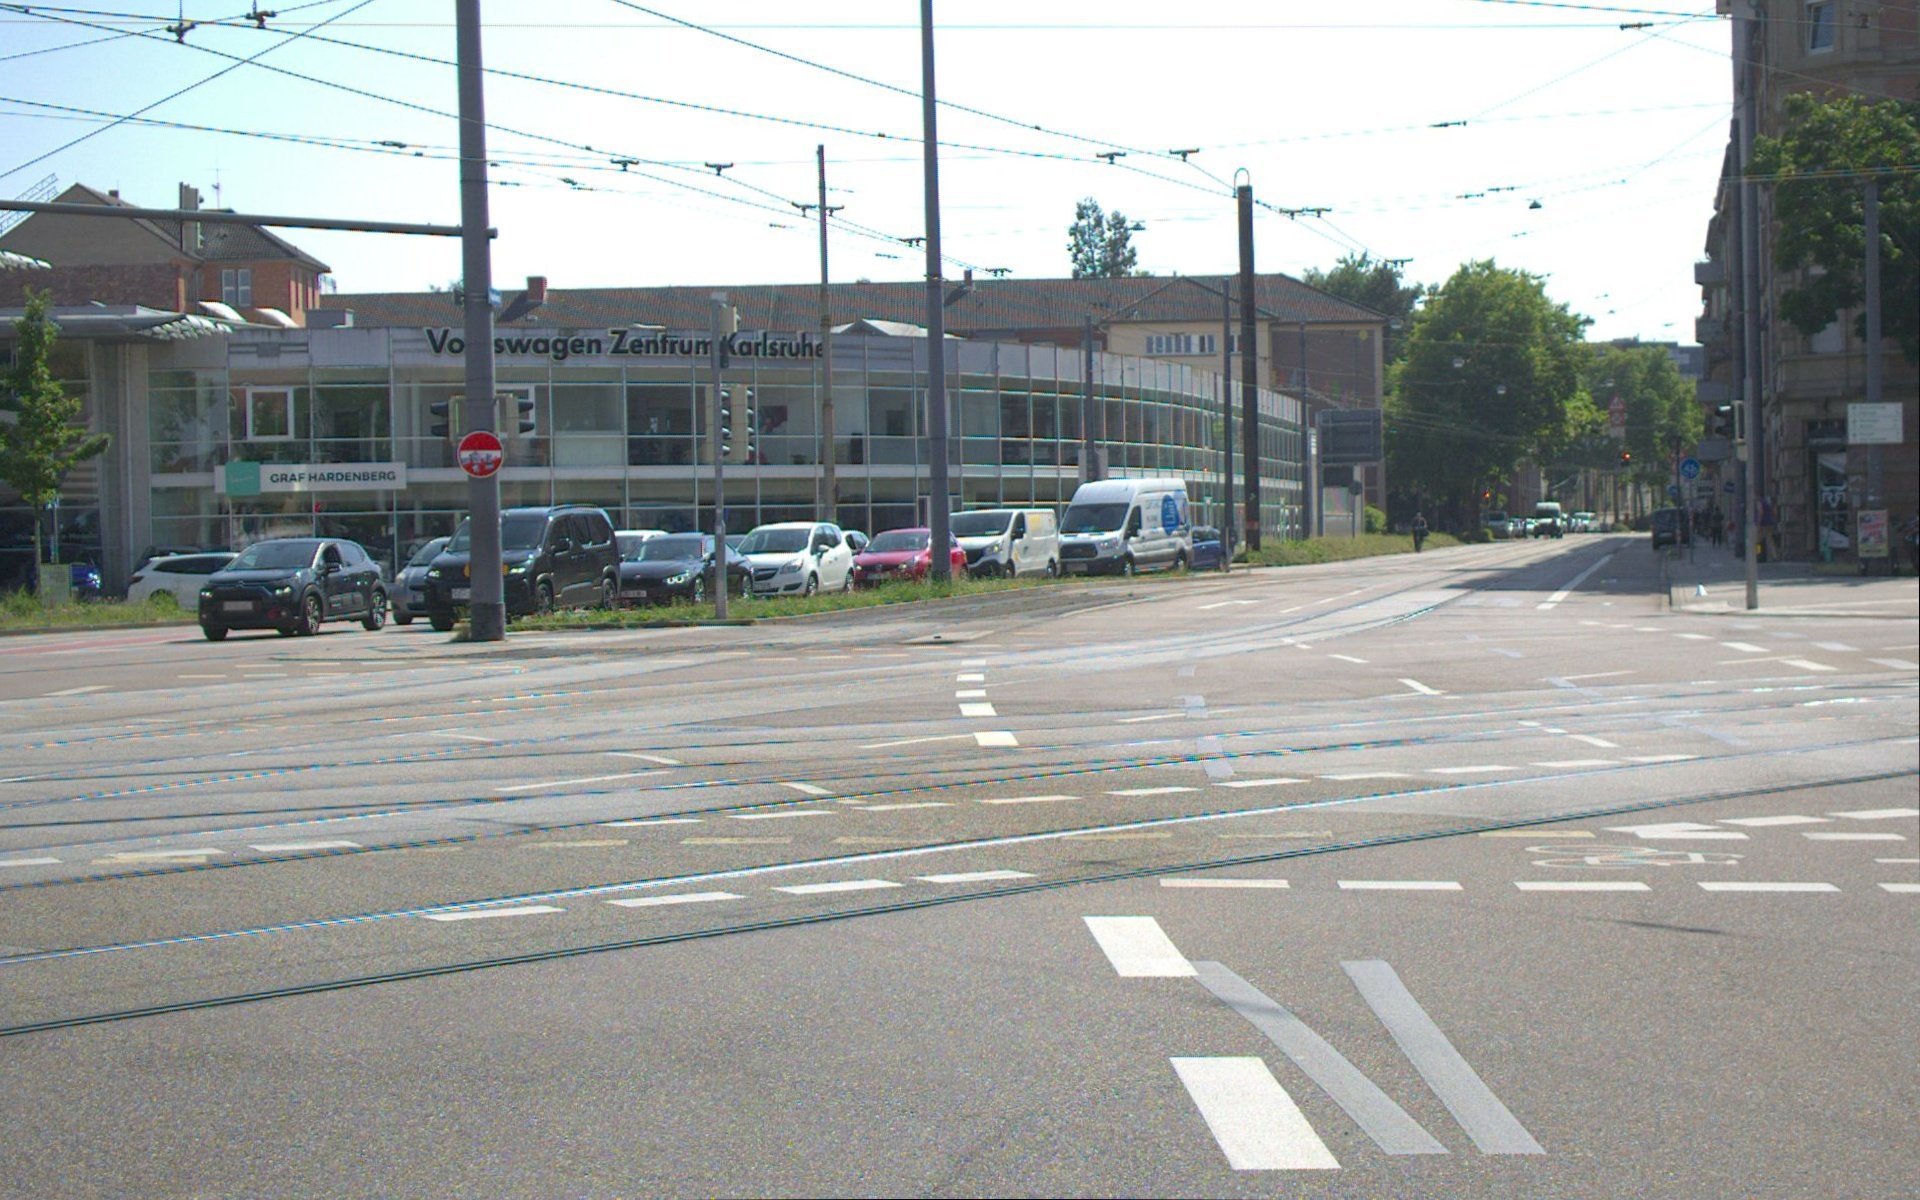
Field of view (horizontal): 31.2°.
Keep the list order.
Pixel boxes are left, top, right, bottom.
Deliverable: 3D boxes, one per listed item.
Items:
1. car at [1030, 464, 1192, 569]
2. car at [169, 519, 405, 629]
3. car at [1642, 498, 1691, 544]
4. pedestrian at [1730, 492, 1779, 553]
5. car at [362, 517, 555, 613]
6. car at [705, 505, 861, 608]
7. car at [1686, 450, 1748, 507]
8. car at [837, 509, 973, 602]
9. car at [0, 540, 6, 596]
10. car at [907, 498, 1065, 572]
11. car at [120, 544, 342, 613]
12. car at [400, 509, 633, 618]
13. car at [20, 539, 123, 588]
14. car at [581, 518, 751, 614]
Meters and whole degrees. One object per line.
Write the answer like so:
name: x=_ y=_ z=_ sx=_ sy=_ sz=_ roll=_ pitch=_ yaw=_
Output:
car: x=3.957 y=-2.120 z=88.807 sx=2.211 sy=2.566 sz=5.867 roll=1 pitch=0 yaw=23
car: x=-10.245 y=-0.389 z=52.643 sx=1.893 sy=1.582 sz=4.207 roll=-1 pitch=0 yaw=14
car: x=32.050 y=-3.586 z=156.027 sx=2.110 sy=2.007 sz=3.998 roll=1 pitch=0 yaw=12
pedestrian: x=18.731 y=-1.825 z=81.035 sx=0.886 sy=1.428 sz=0.711 roll=0 pitch=1 yaw=39
car: x=-8.642 y=-0.589 z=59.529 sx=1.895 sy=1.582 sz=3.997 roll=-1 pitch=0 yaw=14
car: x=-3.431 y=-0.829 z=67.403 sx=1.895 sy=1.910 sz=4.198 roll=-1 pitch=0 yaw=14
car: x=28.269 y=-4.520 z=128.418 sx=1.994 sy=2.007 sz=3.998 roll=1 pitch=0 yaw=9
car: x=-1.158 y=-0.943 z=74.406 sx=1.895 sy=1.910 sz=4.198 roll=-1 pitch=0 yaw=14
car: x=-25.949 y=-0.831 z=88.380 sx=1.993 sy=1.481 sz=4.001 roll=1 pitch=1 yaw=-4
car: x=0.657 y=-1.553 z=81.478 sx=2.187 sy=1.675 sz=5.024 roll=-1 pitch=1 yaw=20
car: x=-16.091 y=-0.482 z=75.935 sx=4.587 sy=1.431 sz=1.444 roll=1 pitch=0 yaw=11
car: x=-6.819 y=-0.596 z=53.403 sx=1.962 sy=1.582 sz=4.713 roll=-1 pitch=1 yaw=14
car: x=-22.741 y=-0.935 z=88.129 sx=1.830 sy=1.191 sz=4.001 roll=1 pitch=1 yaw=-4
car: x=-5.092 y=-0.576 z=60.034 sx=1.895 sy=1.582 sz=3.998 roll=-1 pitch=0 yaw=12
